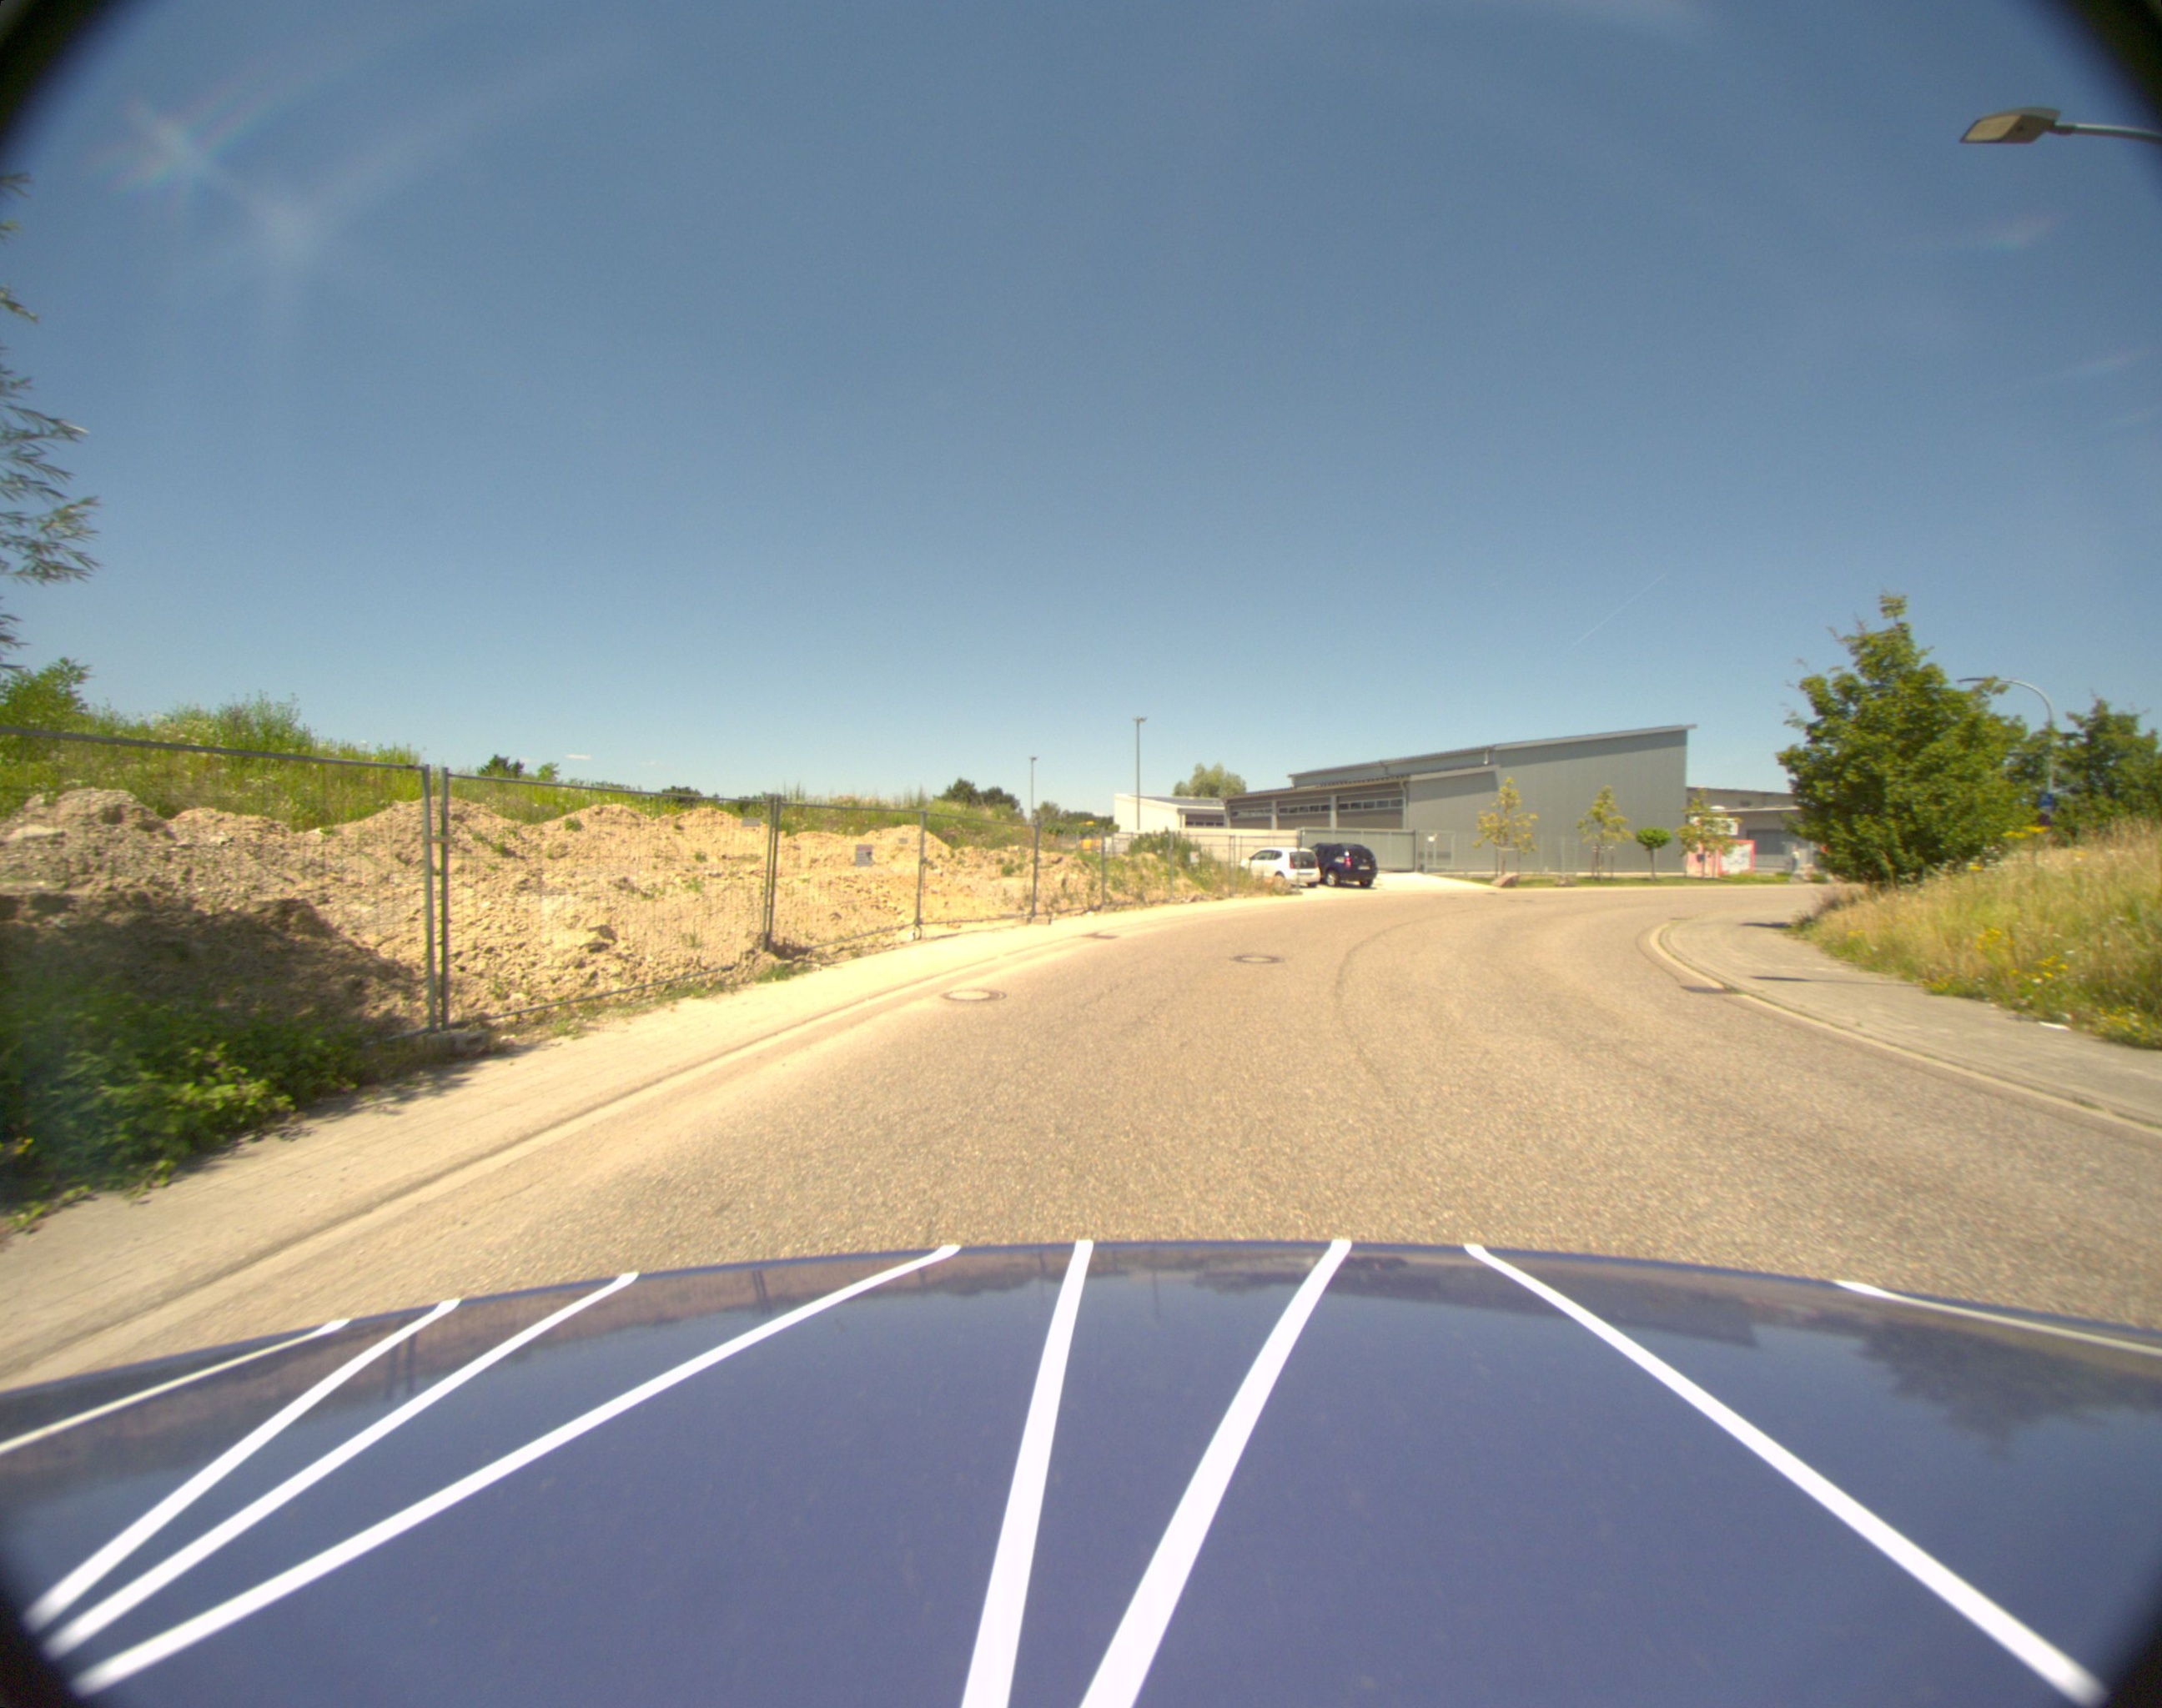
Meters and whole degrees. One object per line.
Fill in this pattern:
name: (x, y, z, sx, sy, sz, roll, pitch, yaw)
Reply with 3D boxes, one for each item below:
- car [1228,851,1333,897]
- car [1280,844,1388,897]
car: (7.681, 0.722, 29.667, 1.895, 1.454, 4.013, 0, 3, -22)
car: (10.015, 0.598, 30.414, 1.860, 1.647, 4.012, 0, 5, -21)
